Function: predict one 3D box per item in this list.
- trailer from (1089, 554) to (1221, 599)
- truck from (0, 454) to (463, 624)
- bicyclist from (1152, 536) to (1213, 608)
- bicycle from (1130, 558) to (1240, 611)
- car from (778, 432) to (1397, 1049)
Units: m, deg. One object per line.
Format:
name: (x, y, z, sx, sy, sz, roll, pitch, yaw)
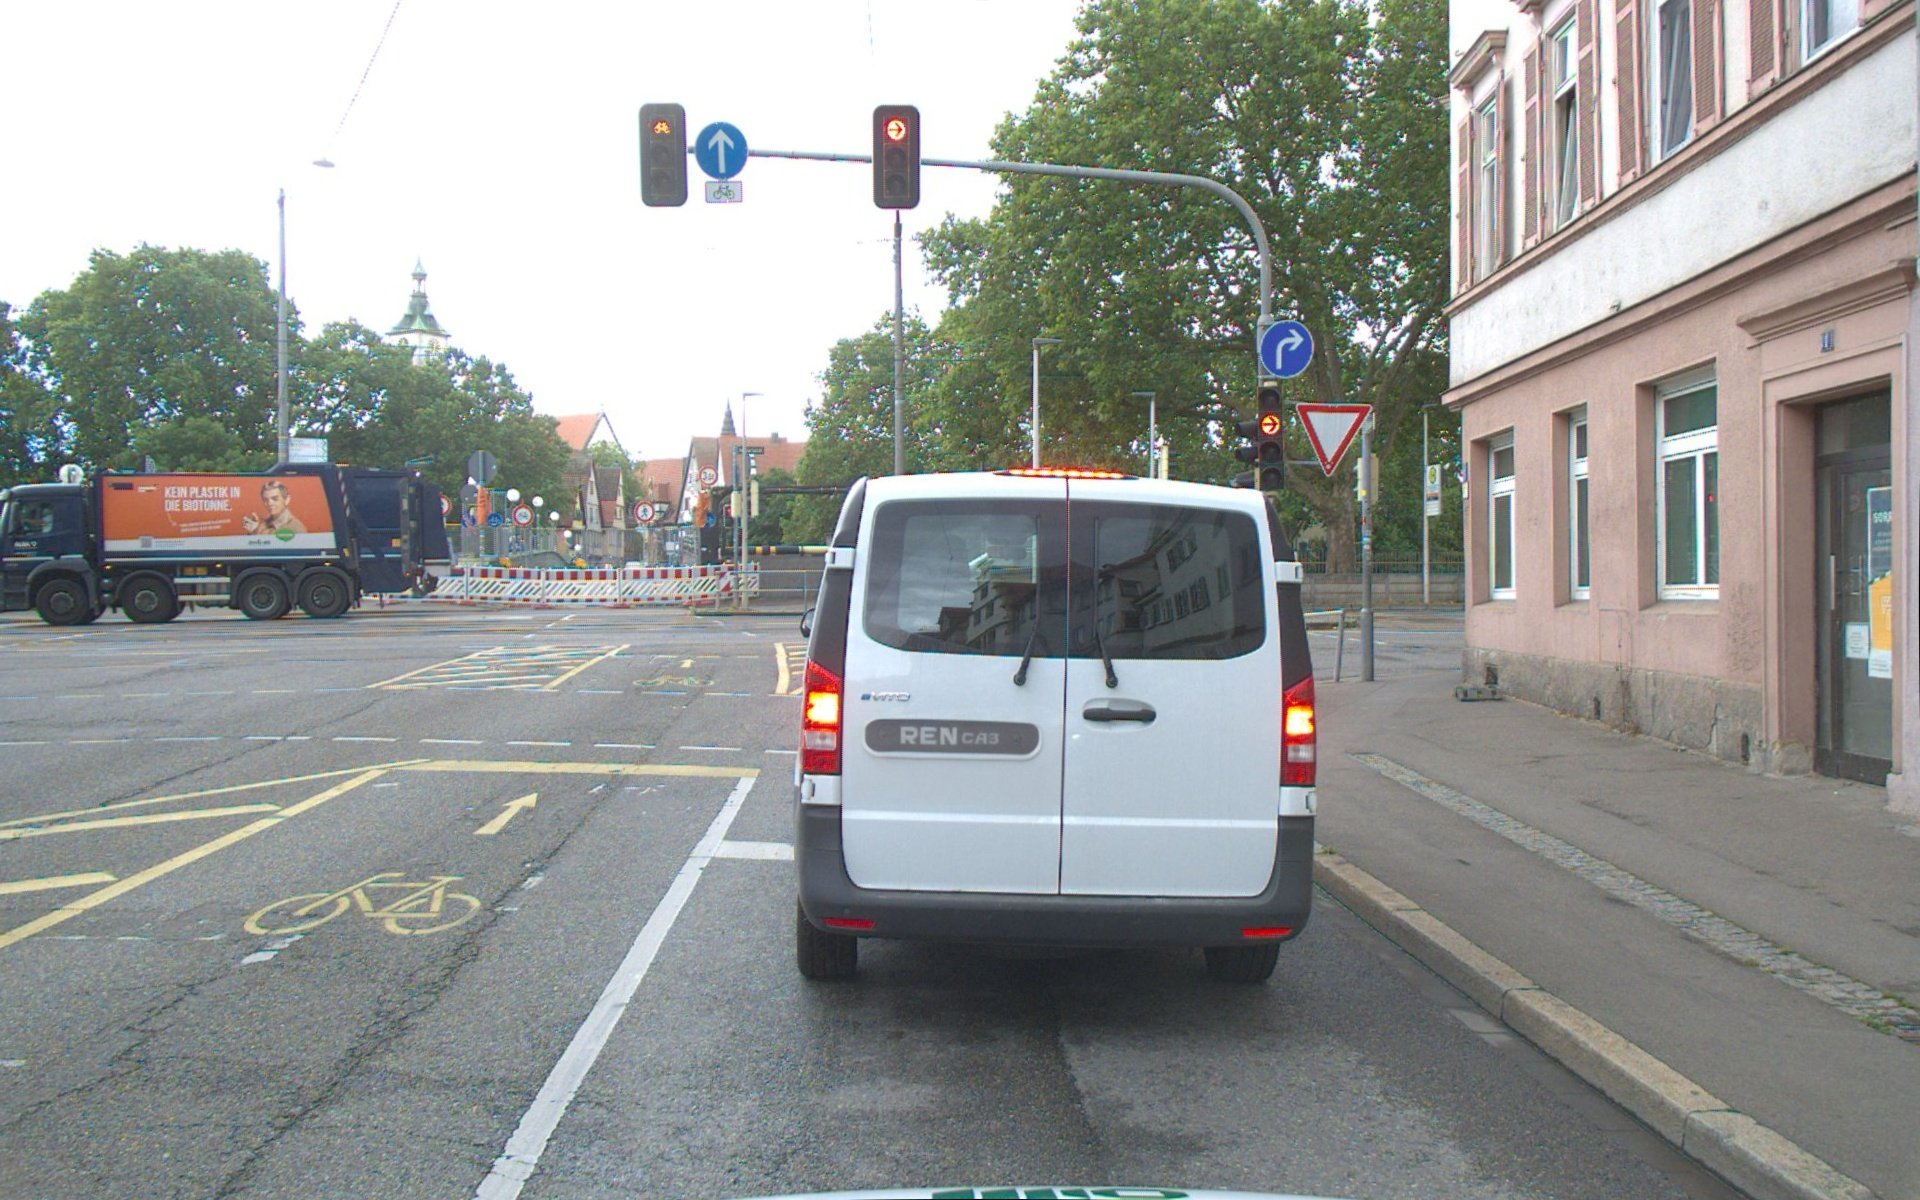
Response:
trailer: (5.302, -0.638, 45.165, 3.144, 1.178, 1.994, -1, 1, -12)
truck: (-17.025, -1.378, 39.191, 10.024, 3.760, 2.260, 0, 0, -18)
bicyclist: (6.913, -0.871, 51.469, 1.538, 2.194, 1.243, 0, 0, -15)
bicycle: (6.999, -0.491, 51.490, 3.092, 1.597, 1.465, 0, 0, -15)
car: (0.328, 0.386, 7.397, 1.953, 1.956, 4.248, 1, 2, -2)
